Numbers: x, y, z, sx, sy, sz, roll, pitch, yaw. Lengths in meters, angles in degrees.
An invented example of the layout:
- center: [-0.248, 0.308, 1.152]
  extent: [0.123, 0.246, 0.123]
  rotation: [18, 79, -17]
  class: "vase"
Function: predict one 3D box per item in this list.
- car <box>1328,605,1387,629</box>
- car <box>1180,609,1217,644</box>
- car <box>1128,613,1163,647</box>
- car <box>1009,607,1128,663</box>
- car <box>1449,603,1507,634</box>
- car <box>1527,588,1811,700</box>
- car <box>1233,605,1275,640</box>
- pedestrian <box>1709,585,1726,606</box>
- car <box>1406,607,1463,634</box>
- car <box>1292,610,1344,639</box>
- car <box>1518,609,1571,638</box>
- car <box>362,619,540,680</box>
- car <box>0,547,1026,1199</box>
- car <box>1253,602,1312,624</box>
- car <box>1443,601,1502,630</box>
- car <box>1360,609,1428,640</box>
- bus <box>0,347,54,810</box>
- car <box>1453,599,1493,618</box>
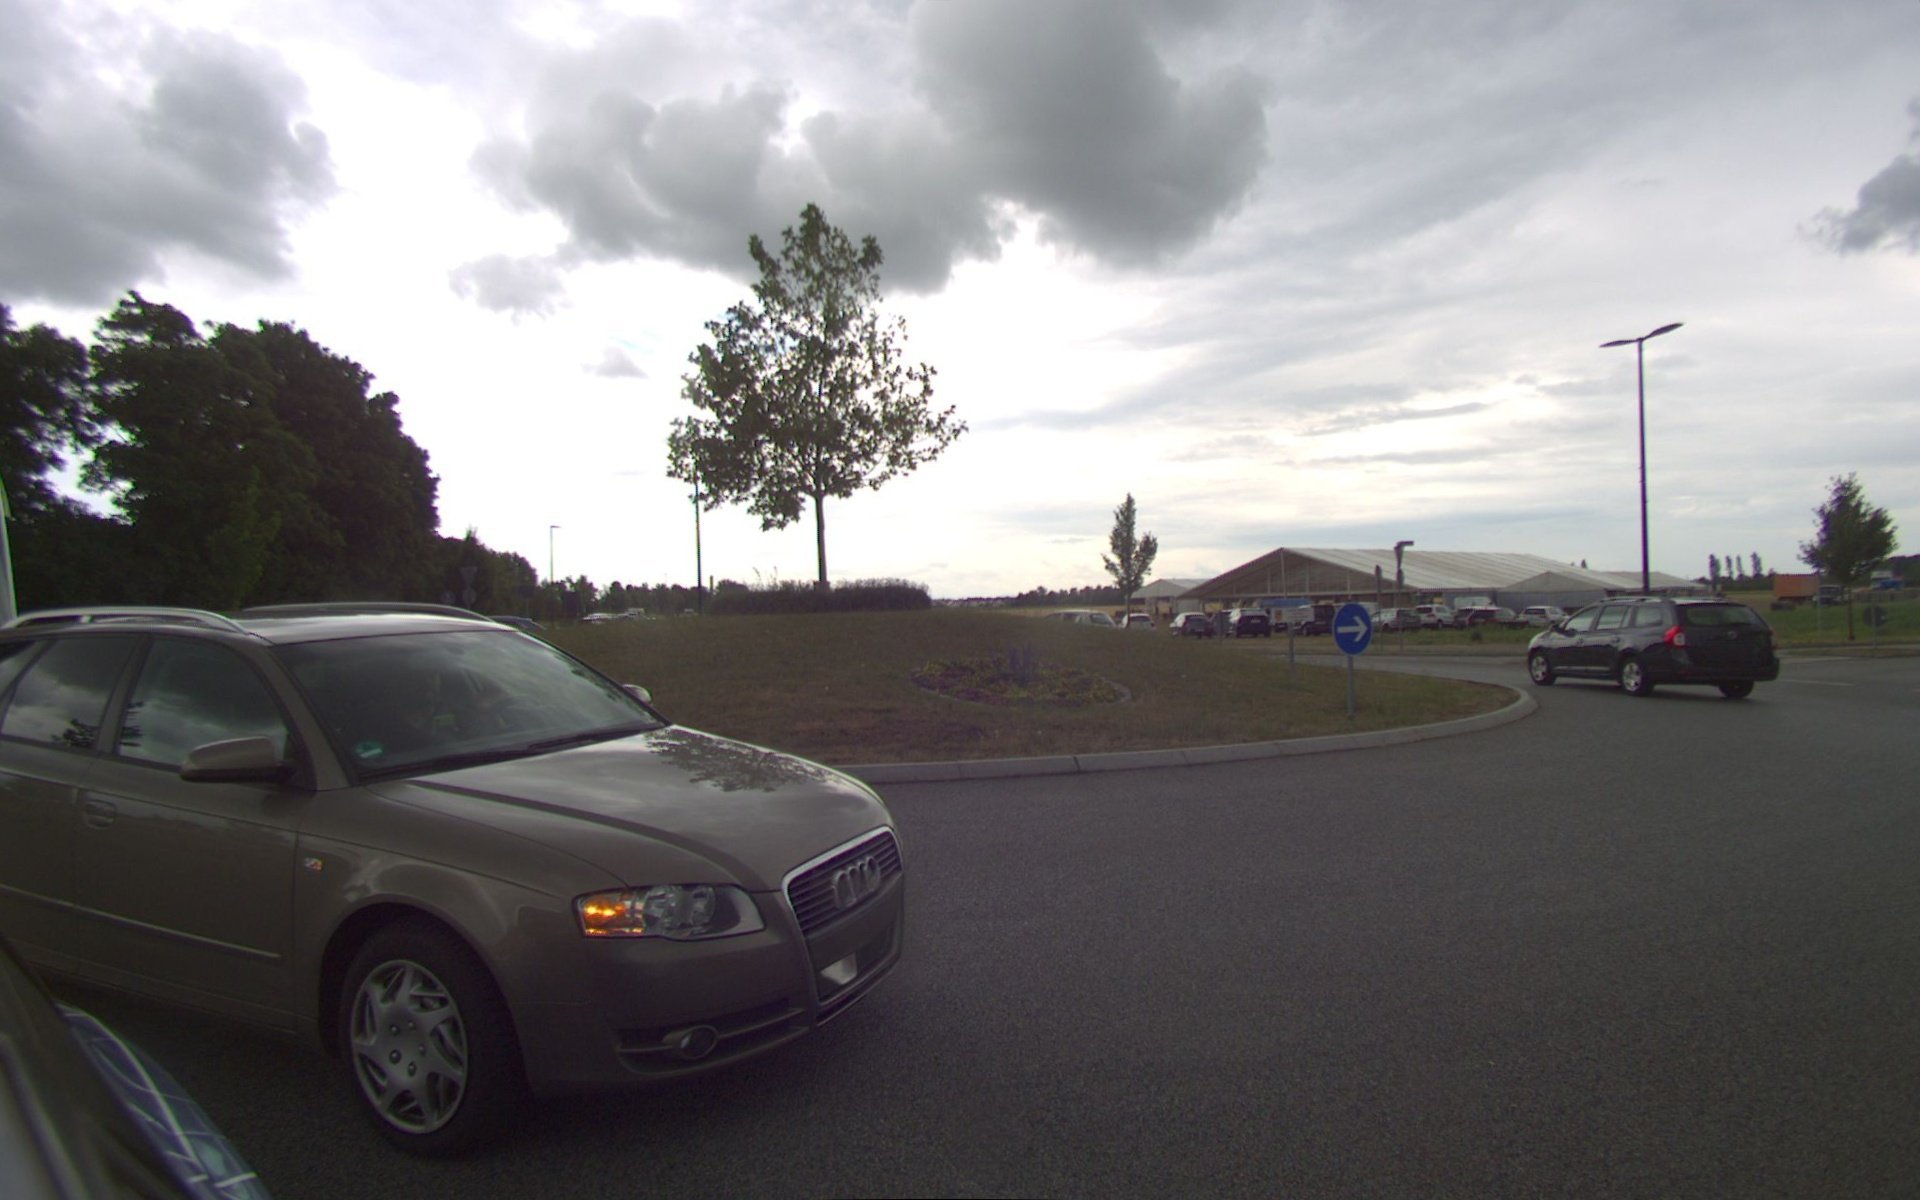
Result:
- center: [26.043, 1.107, 66.232]
  extent: [3.938, 1.453, 1.954]
  rotation: [-1, -1, -42]
  class: "car"
- center: [12.779, 1.408, 54.408]
  extent: [1.698, 1.564, 3.987]
  rotation: [-4, 1, 11]
  class: "car"
- center: [10.014, 1.596, 54.685]
  extent: [1.698, 1.564, 3.987]
  rotation: [-4, 1, 11]
  class: "car"
- center: [3.462, 1.118, 32.603]
  extent: [3.397, 1.529, 1.612]
  rotation: [-2, 5, 41]
  class: "car"
- center: [28.460, 0.988, 55.700]
  extent: [1.617, 1.619, 3.866]
  rotation: [-2, -1, 9]
  class: "car"
- center: [11.199, 0.665, 16.432]
  extent: [1.750, 1.575, 4.275]
  rotation: [0, -1, 3]
  class: "car"
- center: [15.854, 1.192, 54.654]
  extent: [1.698, 1.564, 3.987]
  rotation: [-4, 1, 11]
  class: "car"
- center: [77.892, -0.458, 104.082]
  extent: [1.043, 2.029, 1.054]
  rotation: [-1, -1, -36]
  class: "pedestrian"
- center: [29.851, 1.285, 63.614]
  extent: [3.770, 1.619, 1.838]
  rotation: [-1, -1, -41]
  class: "car"
- center: [18.977, 1.272, 53.841]
  extent: [1.931, 1.453, 3.987]
  rotation: [-2, -1, 10]
  class: "car"
- center: [34.124, 1.332, 59.029]
  extent: [1.732, 1.565, 3.942]
  rotation: [-2, -1, 45]
  class: "car"
- center: [-13.996, 1.318, 27.957]
  extent: [1.763, 1.441, 4.024]
  rotation: [-2, -1, 43]
  class: "car"
- center: [-2.183, 0.694, 3.789]
  extent: [4.511, 1.476, 1.770]
  rotation: [-2, -1, 23]
  class: "car"
- center: [23.354, 0.947, 73.249]
  extent: [3.933, 1.453, 1.957]
  rotation: [-1, -1, -33]
  class: "car"
- center: [31.218, 0.946, 61.602]
  extent: [3.770, 1.619, 1.838]
  rotation: [-1, -1, -41]
  class: "car"
- center: [24.220, 1.365, 56.641]
  extent: [1.707, 1.619, 3.883]
  rotation: [-1, -1, -8]
  class: "car"
- center: [-10.155, -0.088, 6.748]
  extent: [6.474, 3.282, 2.519]
  rotation: [0, 2, 9]
  class: "bus"
- center: [46.306, 0.745, 91.354]
  extent: [3.769, 1.619, 1.838]
  rotation: [-1, -1, -40]
  class: "car"
